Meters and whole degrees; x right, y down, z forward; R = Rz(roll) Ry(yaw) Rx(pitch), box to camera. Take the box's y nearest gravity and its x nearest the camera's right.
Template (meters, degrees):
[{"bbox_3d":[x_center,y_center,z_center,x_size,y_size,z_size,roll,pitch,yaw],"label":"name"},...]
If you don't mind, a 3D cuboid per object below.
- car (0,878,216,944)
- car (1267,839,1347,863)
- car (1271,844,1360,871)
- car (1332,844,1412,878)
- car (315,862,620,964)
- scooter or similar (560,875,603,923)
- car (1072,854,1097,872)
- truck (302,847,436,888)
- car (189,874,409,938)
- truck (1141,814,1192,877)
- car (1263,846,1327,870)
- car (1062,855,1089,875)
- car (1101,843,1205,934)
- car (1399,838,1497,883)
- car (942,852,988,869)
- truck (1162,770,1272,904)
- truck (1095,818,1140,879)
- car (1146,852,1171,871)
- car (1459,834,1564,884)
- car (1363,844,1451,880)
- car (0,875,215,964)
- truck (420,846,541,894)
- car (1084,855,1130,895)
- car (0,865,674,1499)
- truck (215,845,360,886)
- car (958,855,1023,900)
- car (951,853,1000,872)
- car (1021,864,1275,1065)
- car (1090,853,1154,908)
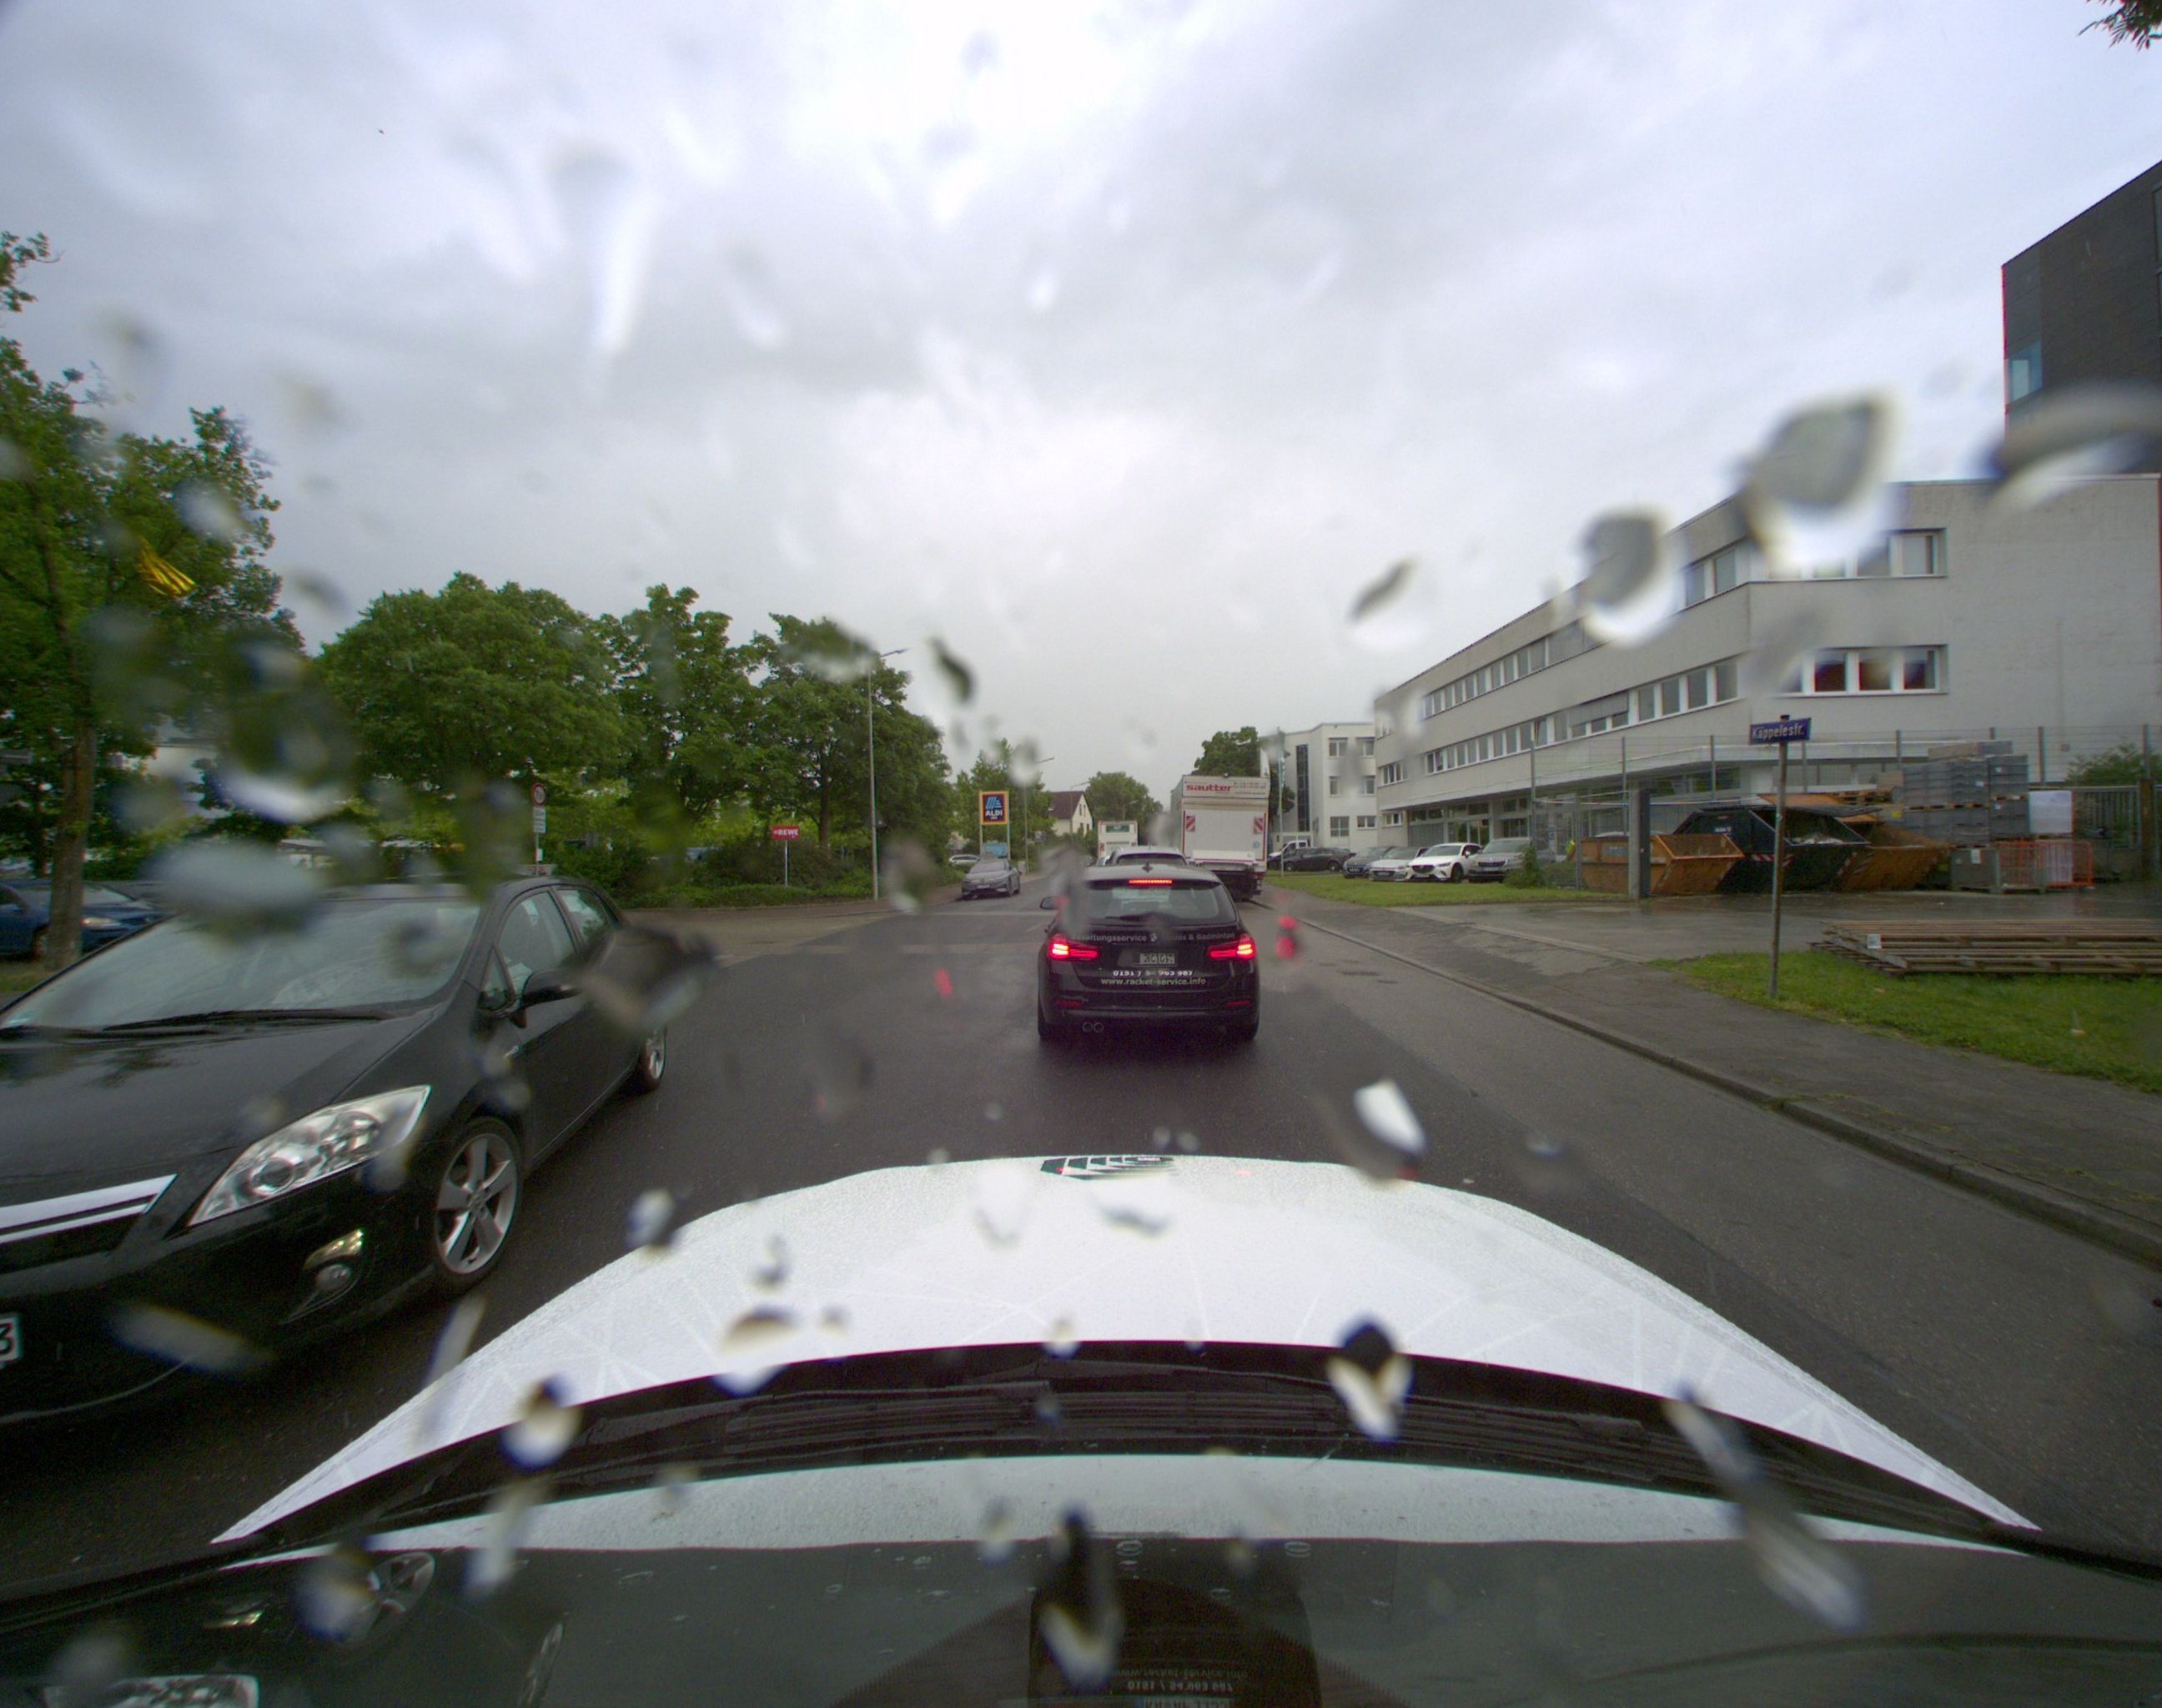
[{"bbox_3d":[-25.114,1.436,20.899,3.971,1.441,1.737,-2,0,2],"label":"car"},{"bbox_3d":[19.558,-0.243,70.689,6.436,2.014,1.999,-1,-1,-2],"label":"car"},{"bbox_3d":[13.659,0.238,47.564,4.616,1.468,1.802,-1,0,41],"label":"car"},{"bbox_3d":[12.850,0.294,35.838,3.789,1.393,1.686,-2,0,-42],"label":"car"},{"bbox_3d":[-10.105,0.952,13.553,3.963,1.441,1.741,-2,0,9],"label":"car"},{"bbox_3d":[-12.894,1.150,21.058,0.282,1.175,1.063,-2,0,10],"label":"scooter or similar"},{"bbox_3d":[0.322,0.772,72.247,1.697,1.367,3.845,-4,0,6],"label":"car"},{"bbox_3d":[-39.654,0.709,45.651,1.986,2.094,6.135,-1,0,1],"label":"truck"},{"bbox_3d":[-19.999,1.310,20.945,3.971,1.363,1.737,-2,0,2],"label":"car"},{"bbox_3d":[5.283,-0.511,51.635,2.730,3.611,7.756,1,0,3],"label":"truck"},{"bbox_3d":[14.225,0.236,54.141,3.733,1.396,1.738,3,3,43],"label":"car"},{"bbox_3d":[-0.387,0.877,66.072,1.697,1.367,4.608,-4,0,5],"label":"car"},{"bbox_3d":[1.311,0.618,16.312,1.798,1.586,4.001,-1,0,1],"label":"car"},{"bbox_3d":[13.348,0.205,29.504,4.022,1.470,1.754,-2,0,-42],"label":"car"},{"bbox_3d":[-11.084,0.633,78.120,3.969,1.540,1.913,-1,0,3],"label":"car"},{"bbox_3d":[4.382,-0.508,28.122,2.729,3.789,9.307,1,0,3],"label":"truck"},{"bbox_3d":[2.088,-0.474,48.026,2.333,3.256,7.754,1,2,1],"label":"truck"},{"bbox_3d":[6.370,0.597,67.088,1.895,1.540,4.005,-1,0,5],"label":"car"},{"bbox_3d":[14.429,0.133,27.216,4.022,1.527,1.850,-2,0,-42],"label":"car"},{"bbox_3d":[13.175,0.294,32.838,4.022,1.286,1.686,-2,0,-42],"label":"car"},{"bbox_3d":[-19.109,1.211,15.236,3.971,1.441,1.737,-2,0,2],"label":"car"},{"bbox_3d":[-35.455,0.884,48.366,1.984,2.601,6.404,-1,0,5],"label":"truck"},{"bbox_3d":[1.072,0.839,34.149,1.798,1.552,4.001,-1,0,1],"label":"car"},{"bbox_3d":[-3.255,0.827,3.813,1.735,1.441,3.976,-2,0,-17],"label":"car"},{"bbox_3d":[-44.185,0.593,45.608,1.986,2.060,6.135,-2,0,1],"label":"truck"},{"bbox_3d":[-3.564,0.887,33.000,1.802,1.528,4.750,-5,0,2],"label":"car"},{"bbox_3d":[-8.372,0.693,64.724,3.553,1.460,1.714,0,0,4],"label":"car"},{"bbox_3d":[0.520,0.811,7.806,1.798,1.395,4.001,-1,0,1],"label":"car"},{"bbox_3d":[1.211,0.761,25.286,1.798,1.552,4.001,-1,0,1],"label":"car"}]
